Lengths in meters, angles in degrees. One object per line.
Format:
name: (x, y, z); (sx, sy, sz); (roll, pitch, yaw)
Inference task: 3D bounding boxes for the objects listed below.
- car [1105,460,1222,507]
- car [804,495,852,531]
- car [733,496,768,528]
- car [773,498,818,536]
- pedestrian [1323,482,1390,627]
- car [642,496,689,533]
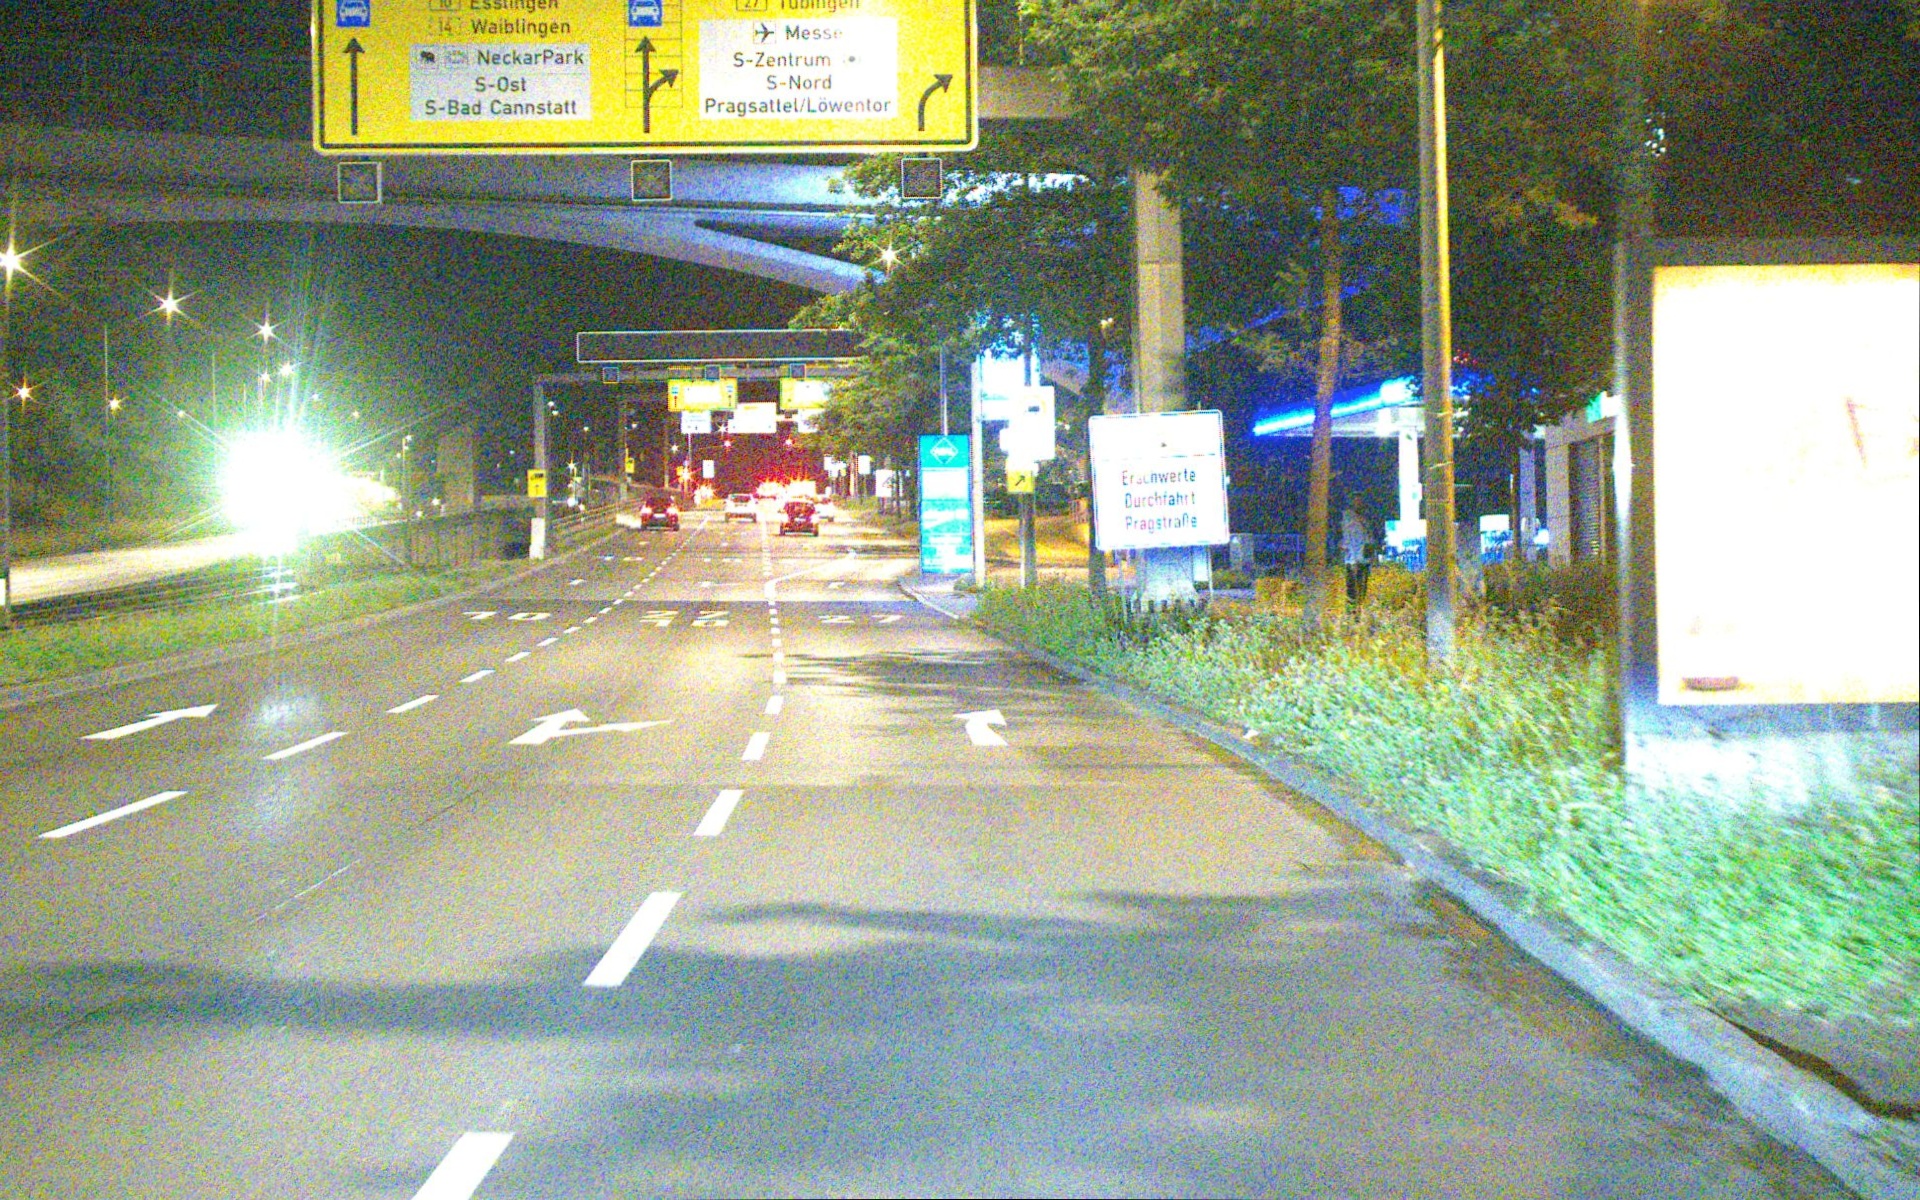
car: (7.500, -4.278, 126.791); (4.119, 1.517, 1.822); (-2, 0, -1)
car: (-7.678, -5.068, 200.534); (2.651, 2.007, 5.300); (1, 1, -1)
car: (-11.812, -4.945, 193.667); (1.782, 1.705, 4.000); (1, 1, -1)
car: (-7.571, -3.809, 158.441); (1.968, 1.705, 4.000); (1, 1, -1)
pedestrian: (5.330, -0.616, 46.247); (0.805, 1.906, 0.793); (-3, 1, 7)
car: (-14.136, -4.119, 165.382); (1.968, 1.705, 4.000); (1, 1, -1)
